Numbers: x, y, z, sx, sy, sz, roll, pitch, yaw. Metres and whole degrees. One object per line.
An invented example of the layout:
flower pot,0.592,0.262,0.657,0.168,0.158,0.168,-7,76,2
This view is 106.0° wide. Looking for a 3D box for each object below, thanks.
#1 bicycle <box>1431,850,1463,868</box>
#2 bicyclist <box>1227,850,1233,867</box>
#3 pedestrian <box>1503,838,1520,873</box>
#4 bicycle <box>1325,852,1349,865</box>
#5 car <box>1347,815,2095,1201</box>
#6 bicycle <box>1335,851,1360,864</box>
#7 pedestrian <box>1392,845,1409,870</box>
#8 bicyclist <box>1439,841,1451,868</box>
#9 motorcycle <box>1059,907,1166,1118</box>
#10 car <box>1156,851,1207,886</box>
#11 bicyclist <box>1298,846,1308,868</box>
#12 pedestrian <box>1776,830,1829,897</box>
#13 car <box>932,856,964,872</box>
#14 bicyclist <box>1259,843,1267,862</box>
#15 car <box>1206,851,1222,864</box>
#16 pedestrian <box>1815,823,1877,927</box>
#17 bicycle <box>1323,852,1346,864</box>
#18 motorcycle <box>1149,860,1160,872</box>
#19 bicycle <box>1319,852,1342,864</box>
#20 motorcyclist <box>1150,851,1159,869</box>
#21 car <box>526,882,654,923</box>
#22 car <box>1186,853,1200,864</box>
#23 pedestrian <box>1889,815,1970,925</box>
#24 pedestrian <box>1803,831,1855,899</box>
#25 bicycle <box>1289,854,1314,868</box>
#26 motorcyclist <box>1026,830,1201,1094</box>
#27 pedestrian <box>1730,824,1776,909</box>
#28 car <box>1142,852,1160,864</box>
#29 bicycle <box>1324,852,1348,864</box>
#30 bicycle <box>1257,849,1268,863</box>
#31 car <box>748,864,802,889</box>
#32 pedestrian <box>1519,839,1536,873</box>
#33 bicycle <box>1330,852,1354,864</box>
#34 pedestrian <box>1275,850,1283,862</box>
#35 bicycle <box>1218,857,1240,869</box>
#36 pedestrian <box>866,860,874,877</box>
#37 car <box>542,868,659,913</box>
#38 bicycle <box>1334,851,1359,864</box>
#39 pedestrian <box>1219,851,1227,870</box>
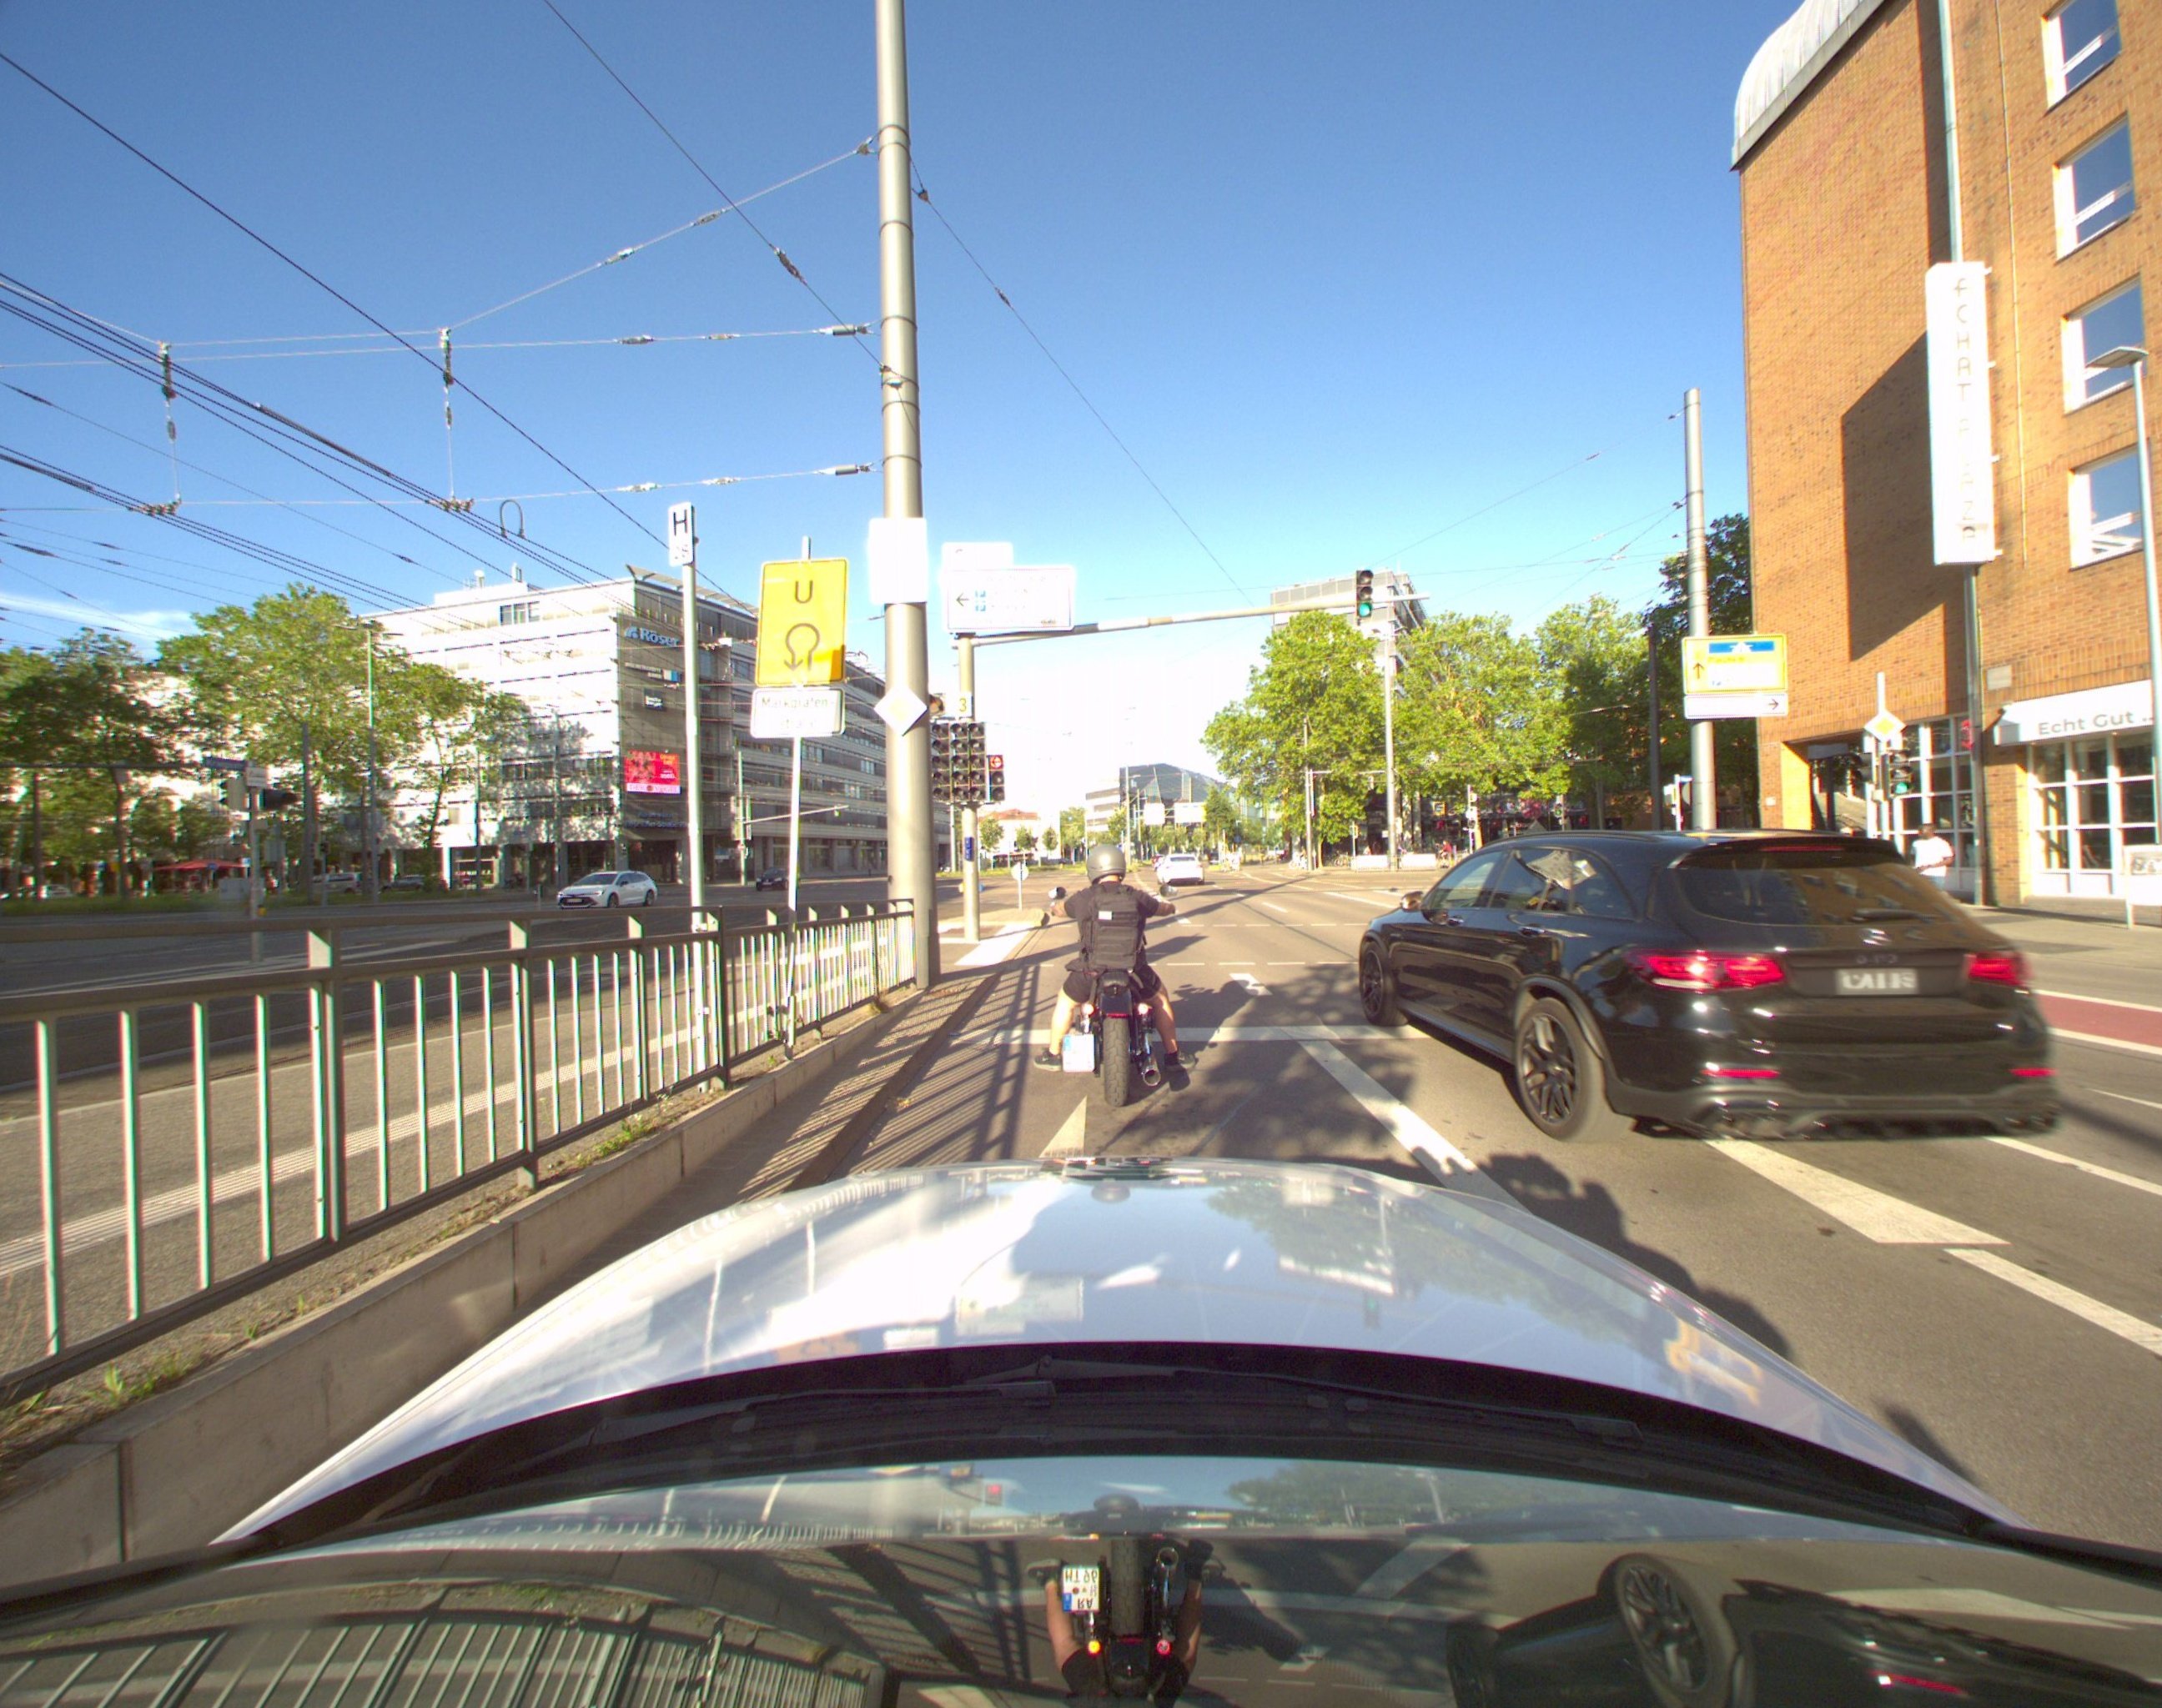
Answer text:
bicycle,25.226,0.346,56.130,2.034,1.214,0.421,0,-1,2
bicyclist,12.227,0.390,66.941,0.380,1.373,0.344,0,-1,-7
pedestrian,19.083,0.064,36.091,0.561,1.532,0.706,-1,-1,22
bicycle,21.441,0.354,68.155,1.874,1.046,0.360,0,-1,1
car,3.394,0.639,5.627,1.796,1.595,4.455,0,0,2
bicycle,21.404,0.281,65.370,1.874,1.046,0.360,0,-1,1
pedestrian,21.597,0.223,55.047,0.829,1.704,0.760,0,-1,2
bicyclist,25.091,0.039,56.144,0.582,1.837,0.403,0,-1,1
motorcycle,0.211,0.970,5.712,0.598,1.036,2.235,0,0,2
car,4.563,0.632,37.506,1.797,1.430,4.453,-2,0,1
bicyclist,17.727,0.241,64.919,0.682,1.673,0.544,-2,-2,21
pedestrian,16.158,0.220,18.255,0.590,1.452,0.601,-2,-1,2
car,-13.600,1.011,83.348,1.737,1.524,4.014,-1,-1,13
bicyclist,18.035,-0.131,80.827,0.693,1.808,0.730,0,-1,6
car,18.389,0.514,112.640,1.719,1.732,4.629,0,0,14
pedestrian,13.598,0.372,14.485,0.586,1.780,0.686,-5,0,33
bicycle,21.496,0.347,69.141,1.874,1.046,0.360,0,0,1
motorcycle,6.554,1.094,72.476,0.799,1.050,2.381,0,-1,8
bicycle,21.540,0.353,70.292,1.874,1.046,0.360,0,0,1
motorcyclist,6.497,0.566,72.159,0.792,1.580,0.530,0,-1,8
car,-13.853,1.358,23.122,2.884,1.063,1.235,0,-1,-19
car,17.584,0.790,127.431,1.790,1.678,4.055,0,-1,14
pedestrian,14.247,0.272,13.691,0.588,1.780,0.684,-3,-1,13
pedestrian,16.788,0.250,18.277,0.590,1.476,0.552,-2,-1,2
bicycle,17.558,0.562,64.970,1.854,1.044,0.540,-1,-1,20
motorcyclist,0.212,0.662,5.429,1.027,1.593,0.874,-2,0,1
pedestrian,14.567,0.271,17.649,0.727,1.792,0.515,-1,-1,42
car,8.958,0.494,104.075,1.720,1.457,4.432,-1,-1,12
bicycle,21.495,0.347,68.641,1.874,1.046,0.360,0,0,1
bicycle,18.051,0.213,80.948,0.722,1.367,2.922,0,-1,6
car,-18.868,1.364,50.409,1.821,1.430,4.237,0,-1,-2
pedestrian,19.725,0.092,35.989,0.561,1.479,0.706,-1,-1,22
bicycle,21.466,0.327,66.966,1.874,1.046,0.360,0,-1,1
pedestrian,21.966,0.276,90.267,0.814,1.314,0.640,-1,-1,11
bicycle,12.166,0.751,66.932,1.823,0.925,0.357,0,-1,-7
pedestrian,-24.367,1.658,93.975,0.628,2.014,0.754,0,-1,2
car,-18.046,1.334,30.864,1.821,1.430,4.526,-2,0,-2
bicycle,21.543,0.303,66.151,1.874,1.046,0.360,0,-1,1
pedestrian,11.967,0.536,68.622,0.587,1.557,0.488,0,-1,-6
